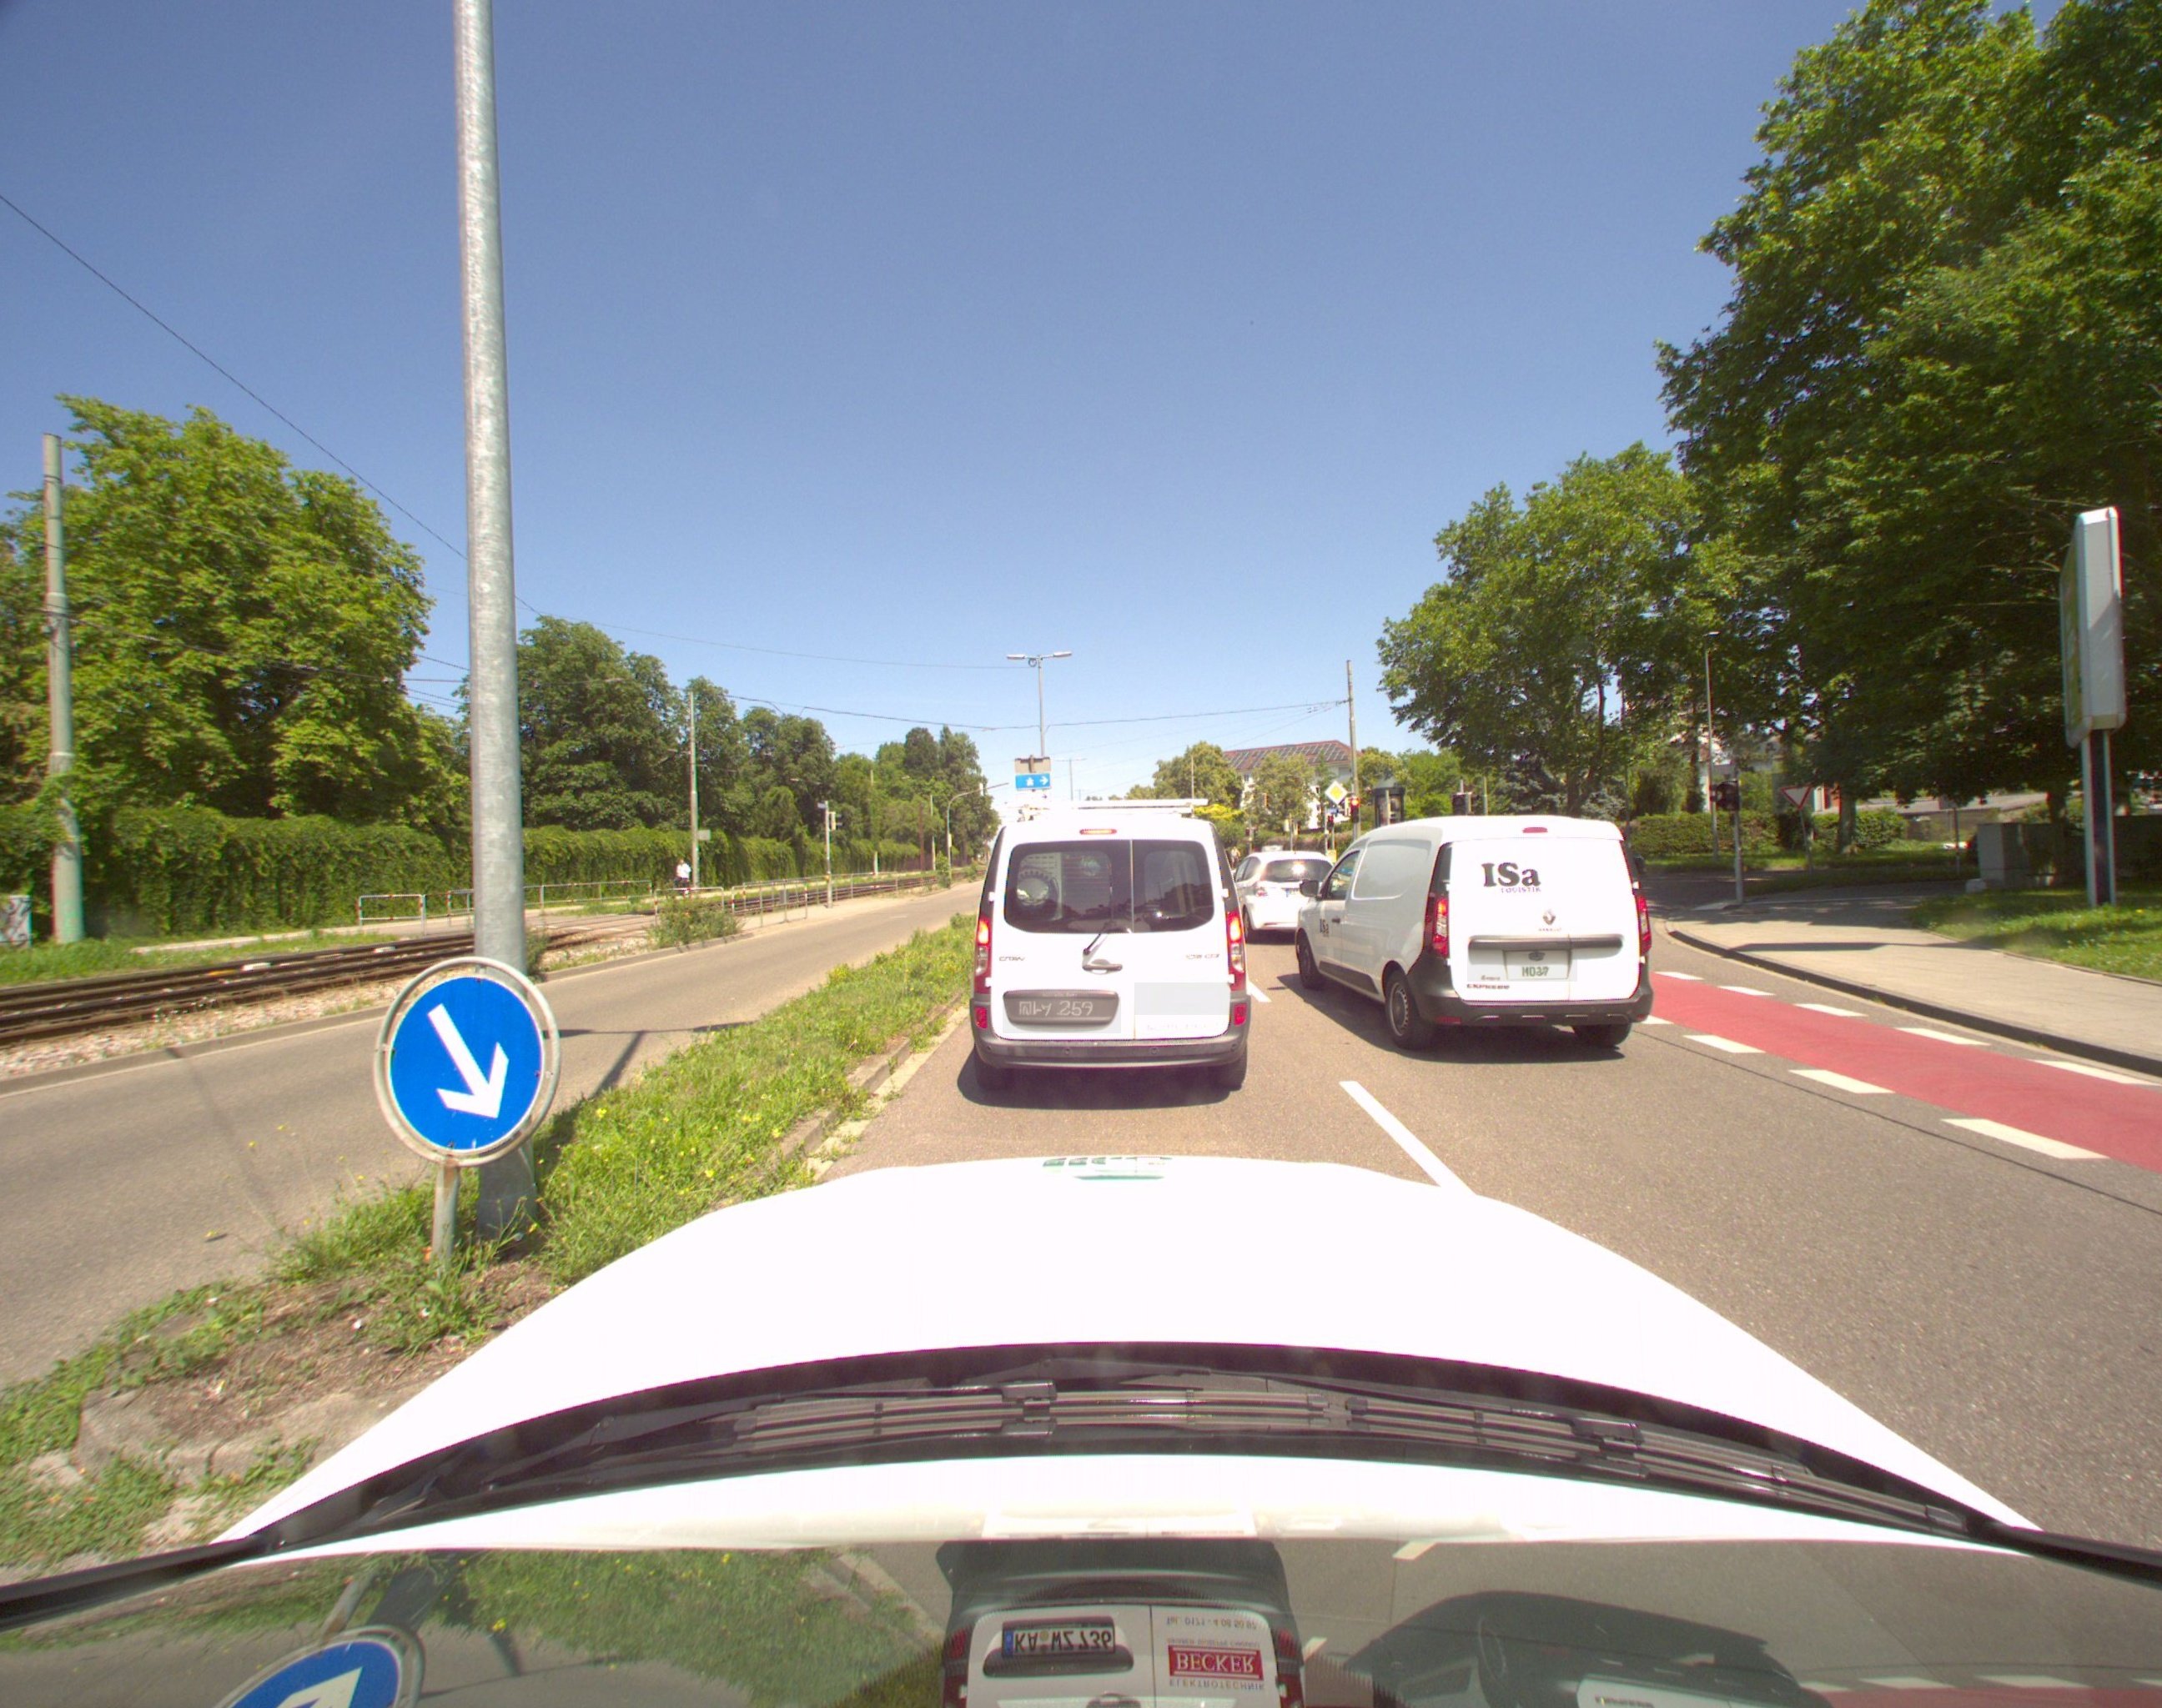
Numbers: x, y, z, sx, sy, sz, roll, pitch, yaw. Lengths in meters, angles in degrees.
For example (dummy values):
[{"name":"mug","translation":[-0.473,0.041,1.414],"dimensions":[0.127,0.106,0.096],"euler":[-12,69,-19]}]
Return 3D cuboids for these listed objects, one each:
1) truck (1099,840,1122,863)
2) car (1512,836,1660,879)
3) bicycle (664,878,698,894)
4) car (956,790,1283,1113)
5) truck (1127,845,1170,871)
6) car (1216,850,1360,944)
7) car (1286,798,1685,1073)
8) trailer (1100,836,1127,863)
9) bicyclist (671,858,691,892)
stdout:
[{"name":"truck","translation":[4.959,-0.425,137.952],"dimensions":[3.565,3.632,8.807],"euler":[-2,0,0]},{"name":"car","translation":[20.277,0.140,32.857],"dimensions":[4.655,1.525,2.004],"euler":[-2,0,6]},{"name":"bicycle","translation":[-17.921,1.436,36.536],"dimensions":[0.559,0.647,1.721],"euler":[-2,0,3]},{"name":"car","translation":[0.267,0.563,6.593],"dimensions":[1.860,1.836,3.850],"euler":[-1,0,1]},{"name":"truck","translation":[5.414,0.322,66.268],"dimensions":[2.296,2.013,6.714],"euler":[-2,0,-5]},{"name":"car","translation":[3.633,0.691,14.969],"dimensions":[1.749,1.486,4.002],"euler":[0,0,2]},{"name":"car","translation":[3.270,0.555,7.564],"dimensions":[1.704,1.830,4.013],"euler":[-2,0,0]},{"name":"trailer","translation":[5.119,-0.697,129.049],"dimensions":[3.518,4.050,8.971],"euler":[-2,0,-2]},{"name":"bicyclist","translation":[-17.938,0.942,36.513],"dimensions":[0.555,1.478,0.562],"euler":[-2,0,3]}]
